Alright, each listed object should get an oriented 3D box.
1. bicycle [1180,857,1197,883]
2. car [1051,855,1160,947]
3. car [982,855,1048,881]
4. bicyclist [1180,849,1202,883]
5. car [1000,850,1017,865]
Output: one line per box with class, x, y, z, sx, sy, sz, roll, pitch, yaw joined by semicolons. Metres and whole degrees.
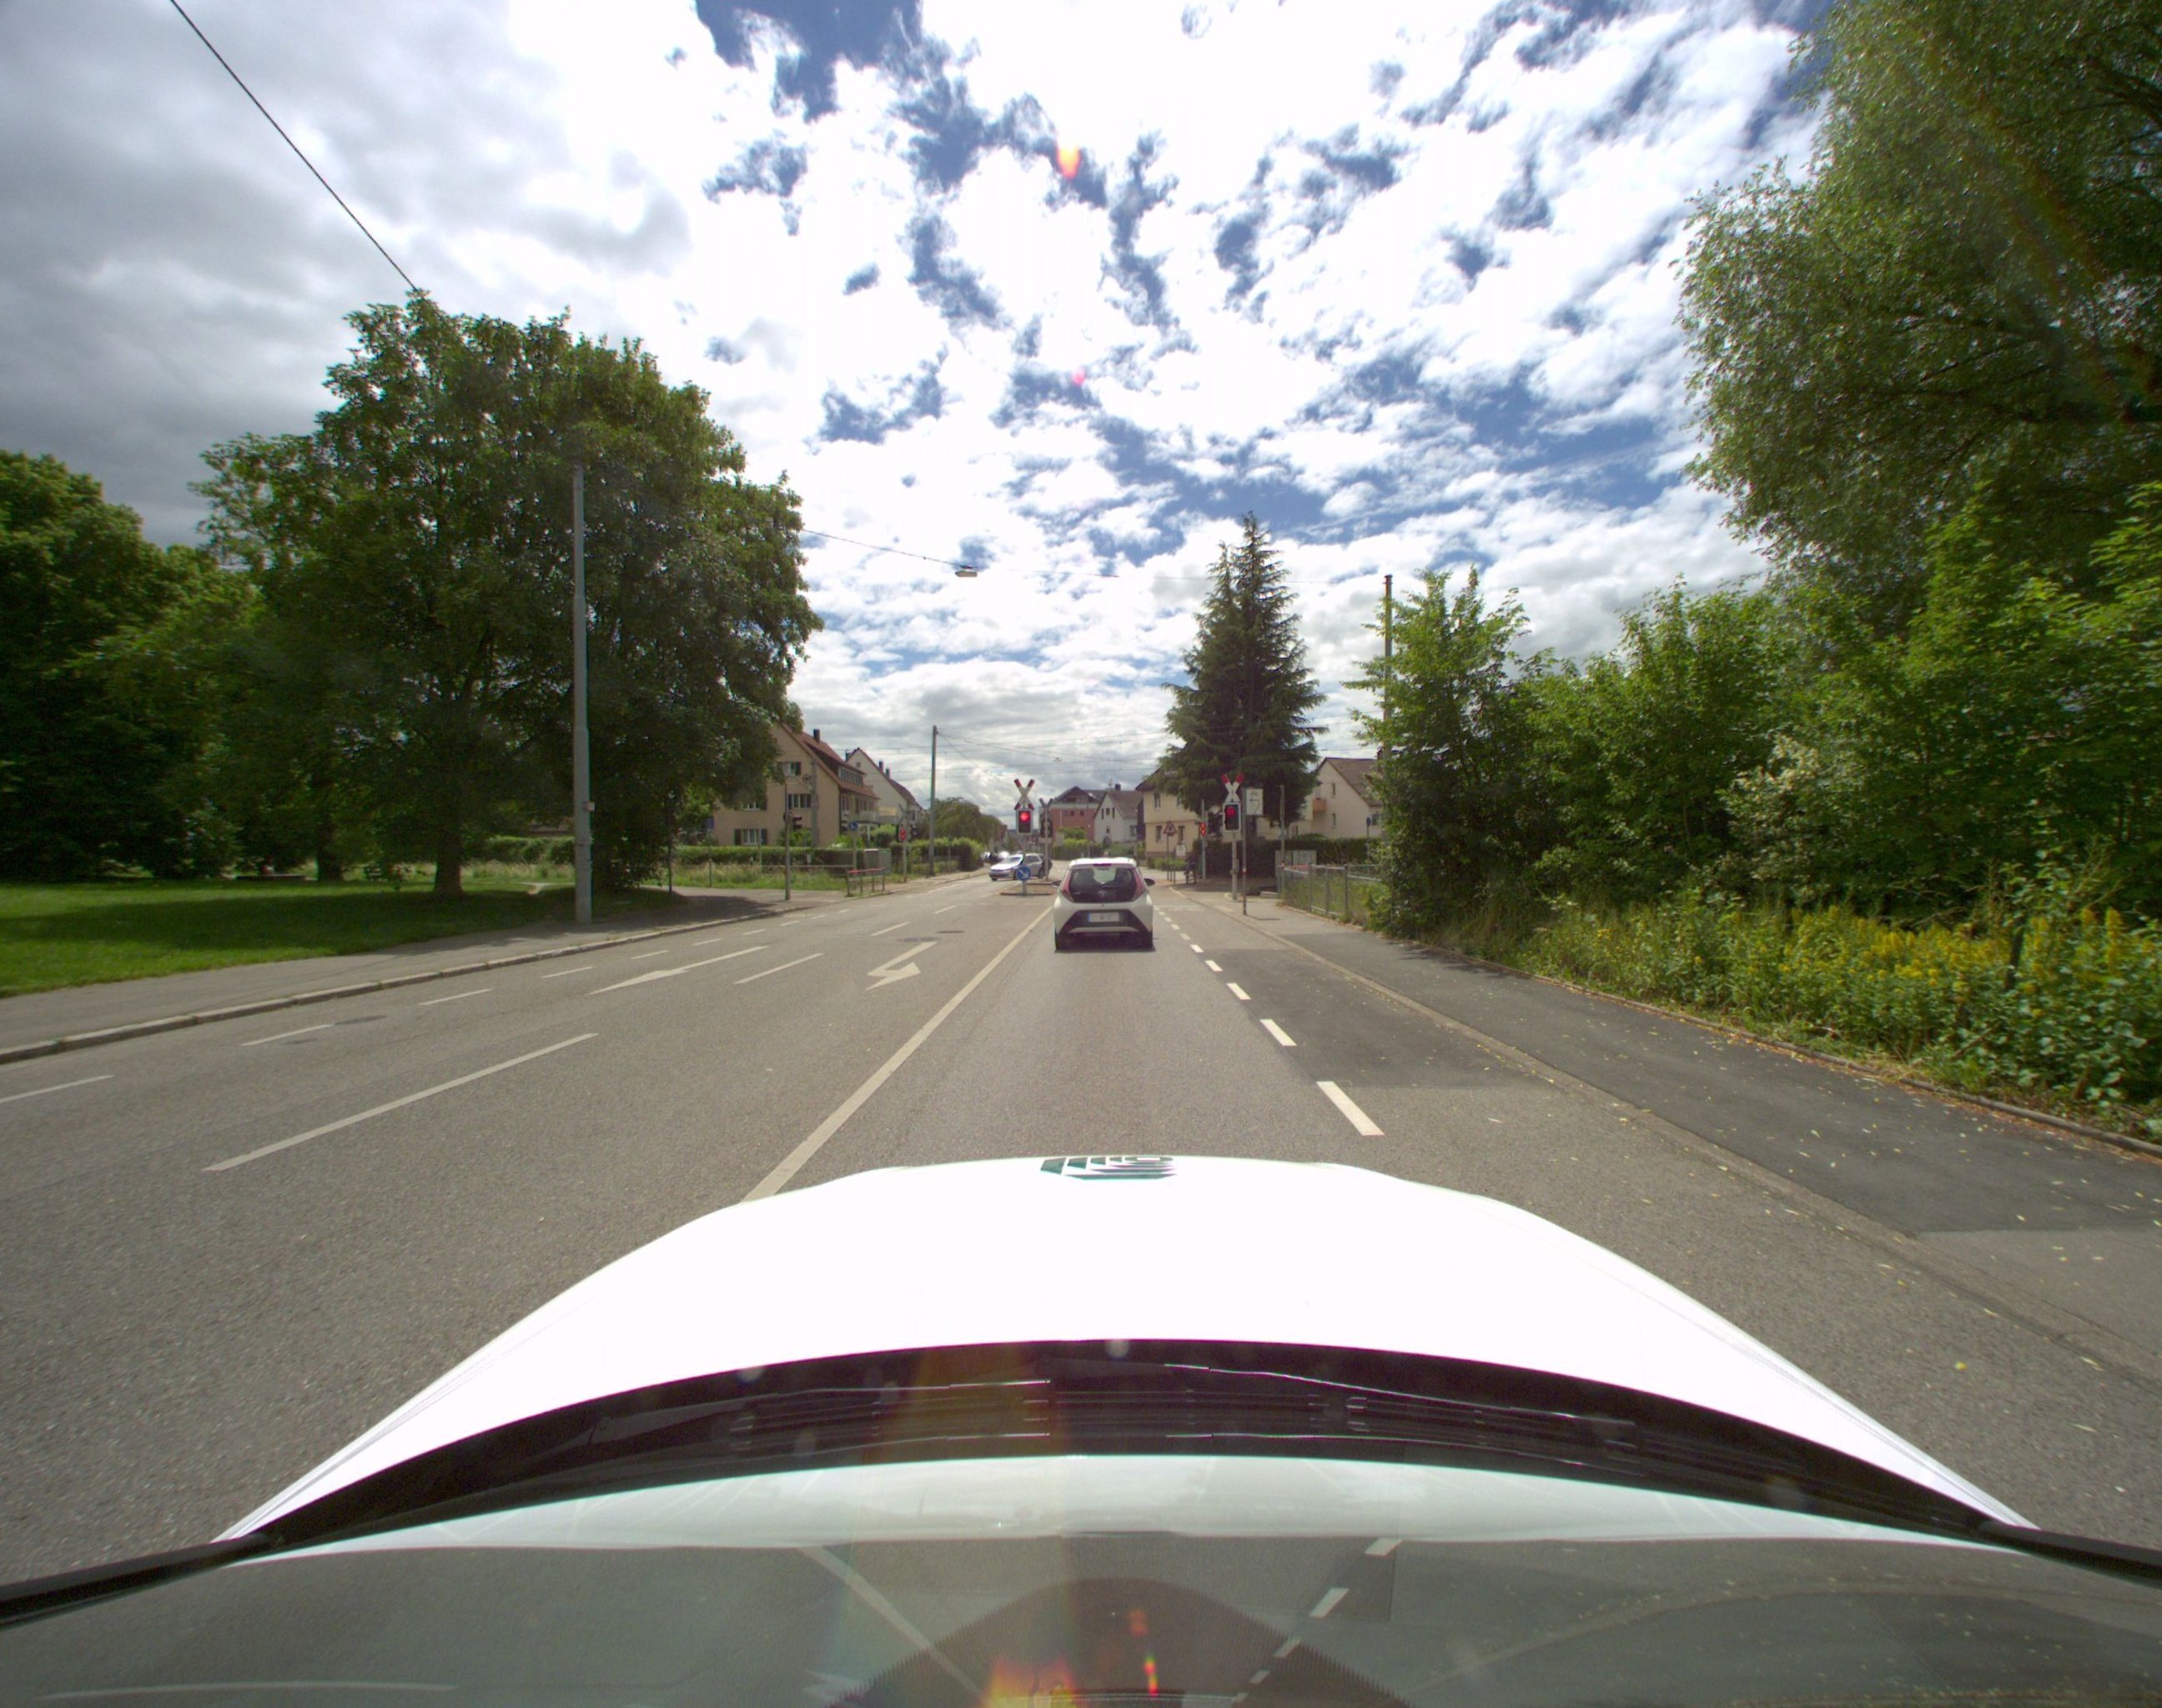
bicycle;5.221;0.777;39.696;0.456;1.172;1.477;-4;2;-4
car;0.343;0.748;14.677;1.716;1.442;3.706;0;0;-2
car;-3.868;0.788;48.251;1.887;1.441;4.124;0;0;30
bicyclist;5.366;0.568;39.767;0.839;1.553;0.755;-4;2;-4
car;-8.856;0.403;99.291;1.990;1.719;3.994;0;0;-5
